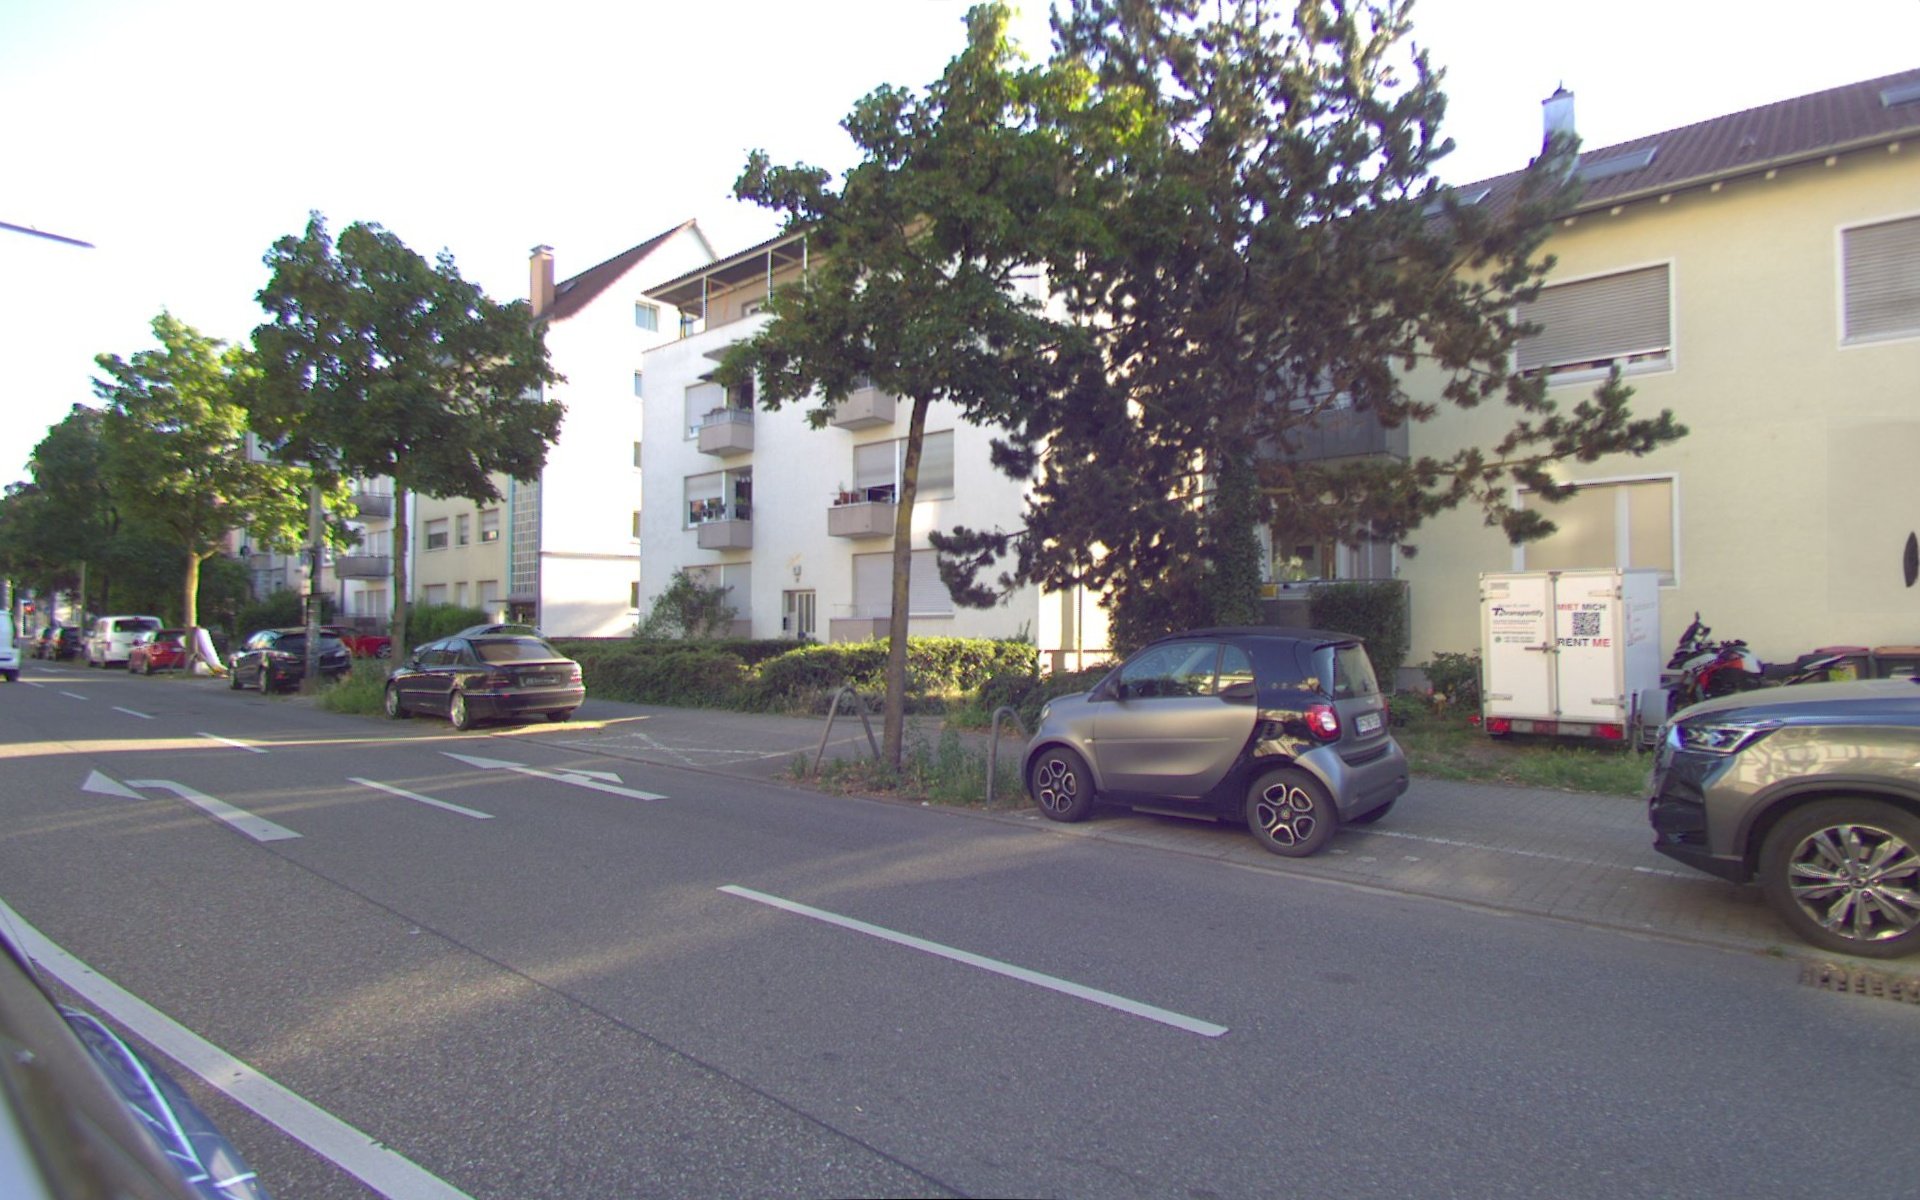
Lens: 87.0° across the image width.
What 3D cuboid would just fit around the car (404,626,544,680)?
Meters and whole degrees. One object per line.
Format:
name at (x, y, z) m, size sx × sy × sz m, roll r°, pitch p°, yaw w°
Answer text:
car at (-14.609, 1.561, 30.508) m, size 1.686 × 1.535 × 3.422 m, roll -2°, pitch -3°, yaw 42°

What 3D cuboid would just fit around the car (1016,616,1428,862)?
car at (1.998, 0.930, 7.957) m, size 2.747 × 1.567 × 1.557 m, roll -1°, pitch -2°, yaw 40°

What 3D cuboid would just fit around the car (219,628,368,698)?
car at (-15.554, 1.408, 23.560) m, size 3.997 × 1.497 × 1.838 m, roll -2°, pitch -3°, yaw 40°

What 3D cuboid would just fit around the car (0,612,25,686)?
car at (-25.774, 1.221, 26.042) m, size 4.427 × 1.817 × 1.869 m, roll -1°, pitch -4°, yaw 40°

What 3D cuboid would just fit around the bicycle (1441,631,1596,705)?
bicycle at (8.647, 1.026, 15.733) m, size 2.045 × 1.072 × 0.513 m, roll -1°, pitch -2°, yaw 41°

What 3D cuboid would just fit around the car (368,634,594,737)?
car at (-7.781, 1.263, 16.244) m, size 4.441 × 1.418 × 1.620 m, roll -1°, pitch -2°, yaw 41°

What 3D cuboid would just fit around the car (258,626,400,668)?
car at (-24.964, 1.824, 40.226) m, size 1.735 × 1.416 × 4.516 m, roll -1°, pitch 0°, yaw 31°

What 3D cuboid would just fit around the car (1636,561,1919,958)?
car at (5.933, 0.719, 4.471) m, size 4.722 × 1.793 × 1.868 m, roll -1°, pitch -2°, yaw 40°

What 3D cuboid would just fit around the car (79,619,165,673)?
car at (-30.318, 1.636, 36.579) m, size 4.190 × 1.823 × 1.717 m, roll -1°, pitch -2°, yaw 41°

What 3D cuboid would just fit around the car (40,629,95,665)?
car at (-38.665, 2.019, 43.822) m, size 3.682 × 1.416 × 1.388 m, roll -1°, pitch 0°, yaw 43°

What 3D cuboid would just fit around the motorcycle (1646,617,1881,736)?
motorcycle at (10.076, 0.923, 12.790) m, size 2.257 × 1.384 × 0.564 m, roll -1°, pitch -3°, yaw 41°

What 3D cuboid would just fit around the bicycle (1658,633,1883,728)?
bicycle at (10.634, 1.017, 13.368) m, size 2.257 × 1.149 × 0.564 m, roll -1°, pitch -2°, yaw 41°

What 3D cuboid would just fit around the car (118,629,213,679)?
car at (-25.104, 1.668, 31.946) m, size 3.634 × 1.475 × 1.717 m, roll -1°, pitch -2°, yaw 41°

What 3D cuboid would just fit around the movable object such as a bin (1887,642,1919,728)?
movable object such as a bin at (11.777, 1.040, 12.479) m, size 0.486 × 1.039 × 0.475 m, roll -2°, pitch -3°, yaw 42°

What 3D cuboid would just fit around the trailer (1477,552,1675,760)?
trailer at (6.996, 0.596, 11.410) m, size 1.551 × 2.029 × 2.745 m, roll -1°, pitch -3°, yaw 39°
